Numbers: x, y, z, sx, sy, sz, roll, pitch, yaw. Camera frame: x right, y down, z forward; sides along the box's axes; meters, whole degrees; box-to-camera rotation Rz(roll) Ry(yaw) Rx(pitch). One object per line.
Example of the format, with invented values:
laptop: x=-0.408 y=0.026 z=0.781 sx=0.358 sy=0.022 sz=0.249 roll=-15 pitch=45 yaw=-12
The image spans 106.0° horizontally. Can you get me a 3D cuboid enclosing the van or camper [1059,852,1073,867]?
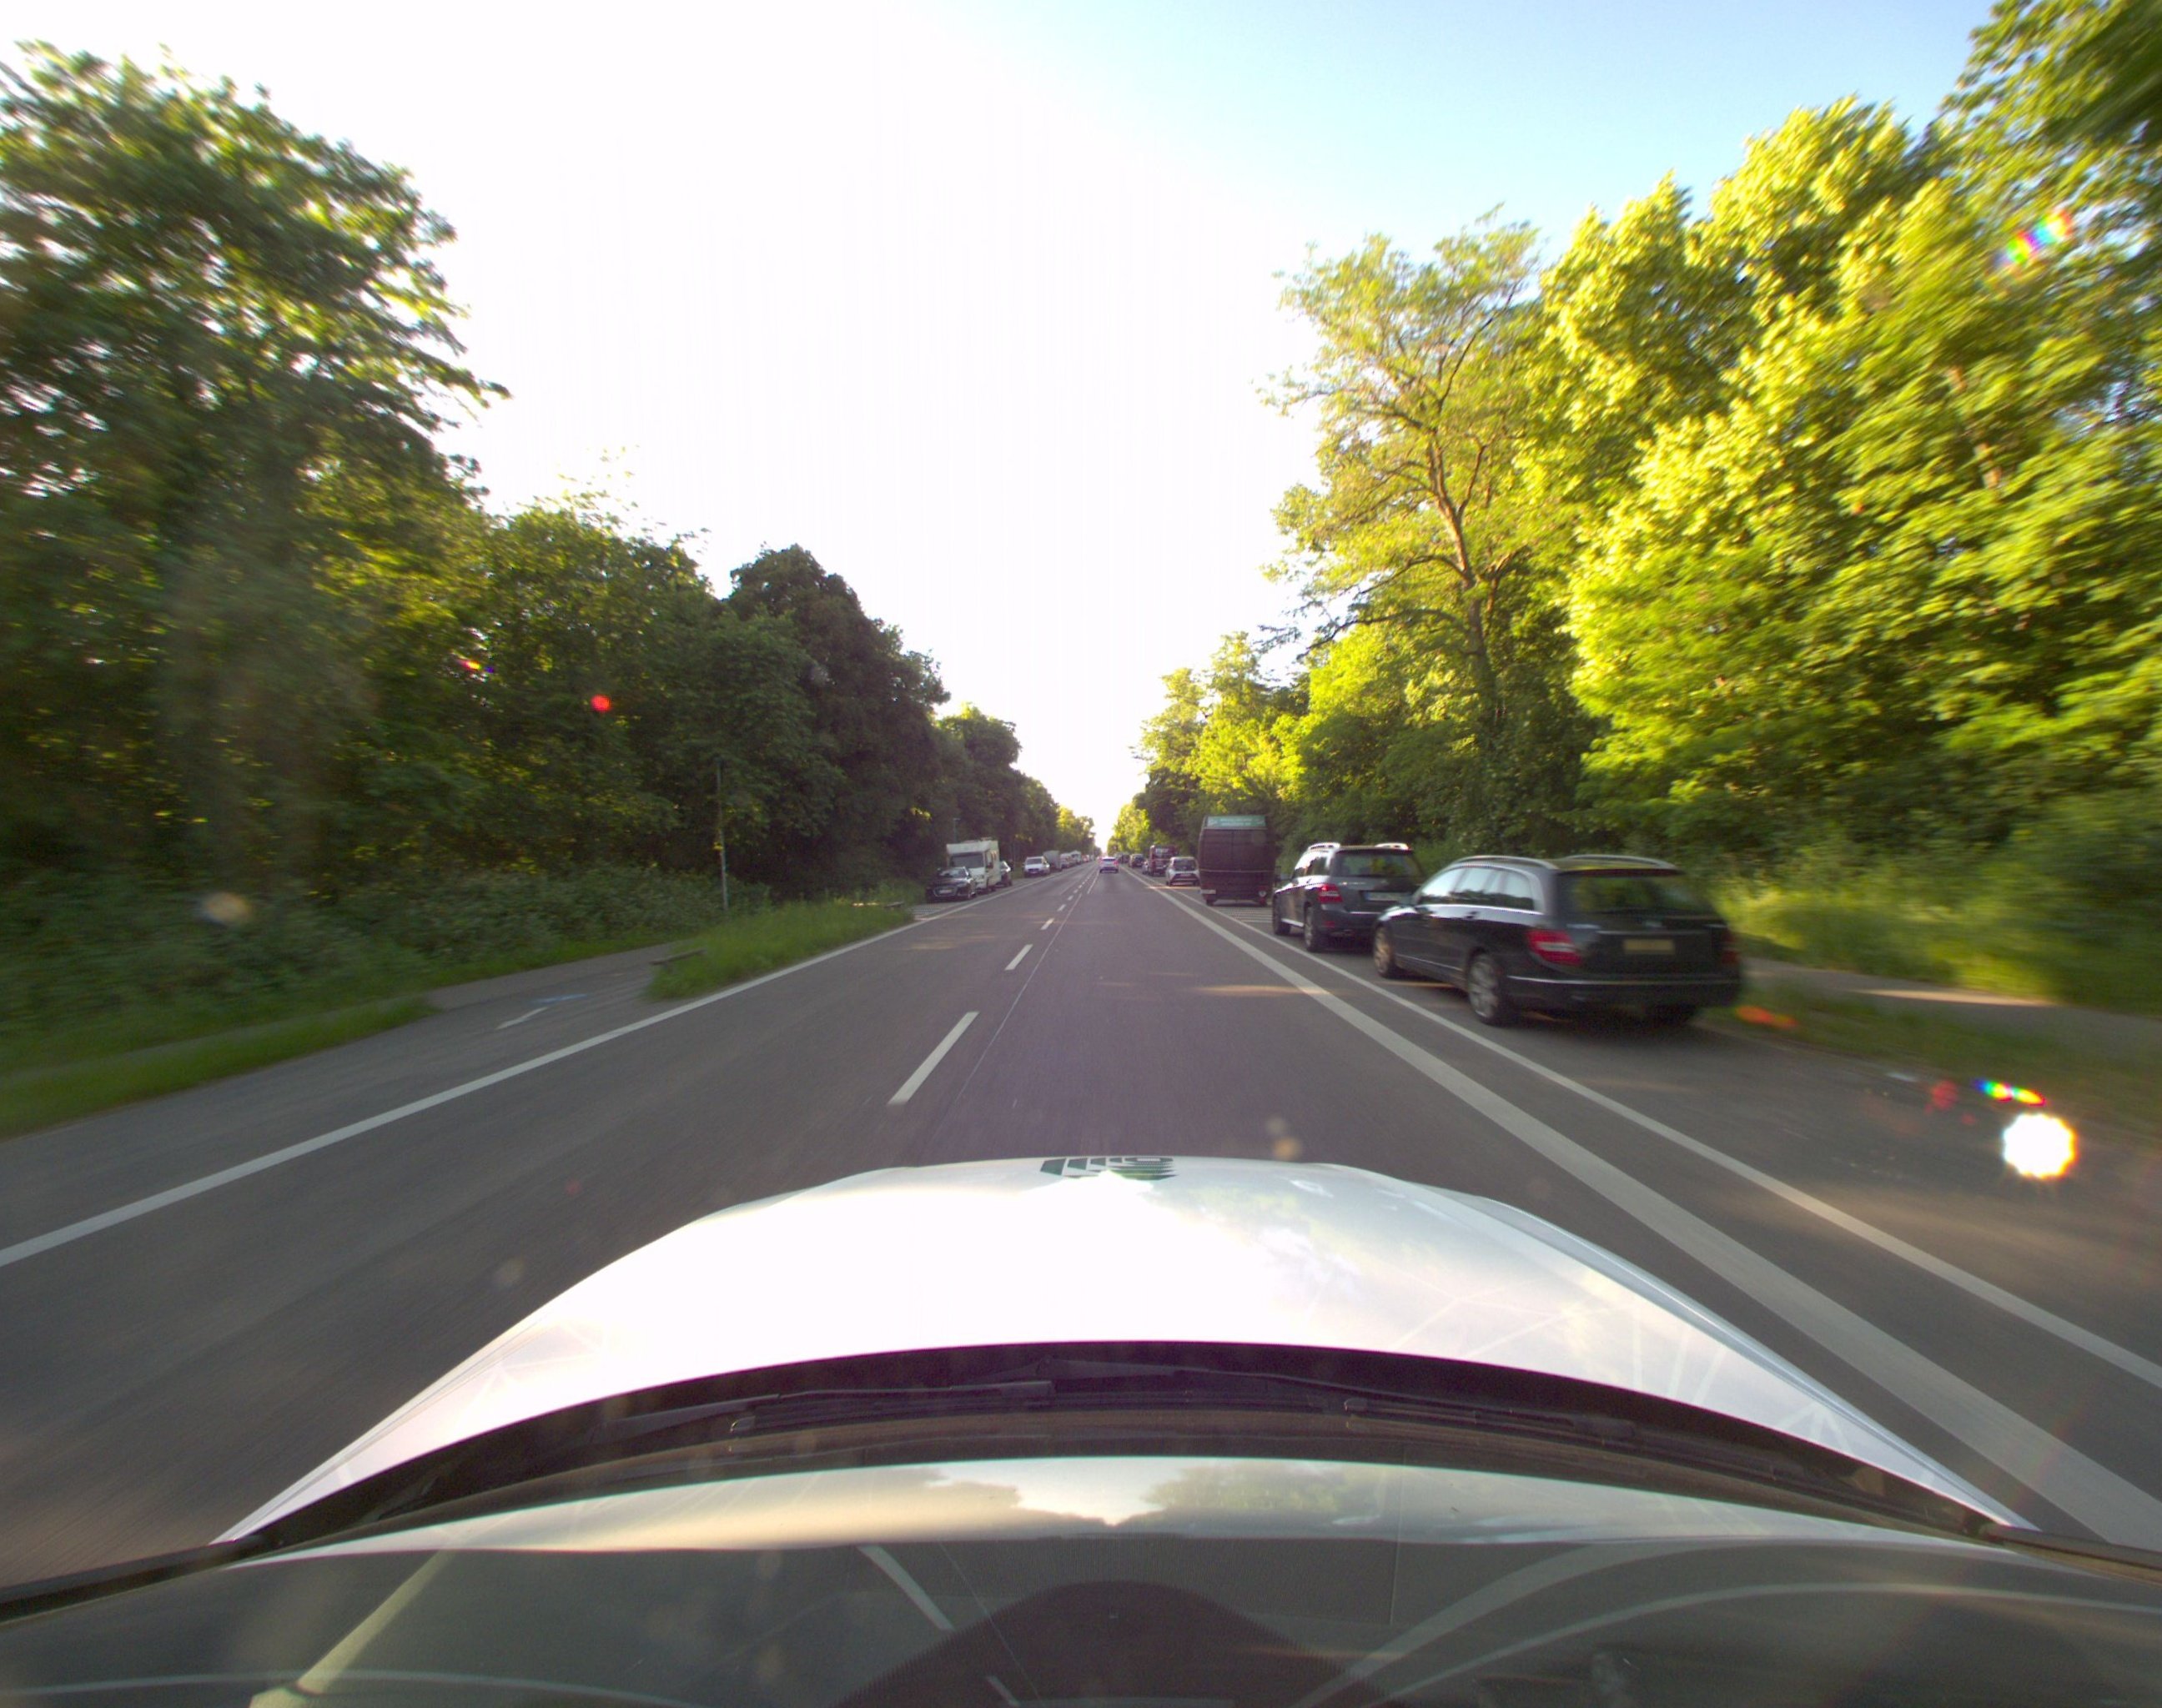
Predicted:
van or camper: x=-2.656 y=1.027 z=145.288 sx=2.113 sy=2.572 sz=6.545 roll=-3 pitch=0 yaw=2

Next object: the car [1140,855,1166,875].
car: x=6.115 y=0.940 z=69.712 sx=1.742 sy=1.515 sz=3.999 roll=-3 pitch=0 yaw=0

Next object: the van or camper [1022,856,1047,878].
van or camper: x=-4.315 y=1.193 z=76.567 sx=1.829 sy=1.911 sz=4.857 roll=-4 pitch=0 yaw=1

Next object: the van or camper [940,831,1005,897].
van or camper: x=-5.496 y=0.509 z=42.338 sx=2.308 sy=2.970 sz=7.108 roll=-4 pitch=0 yaw=-1

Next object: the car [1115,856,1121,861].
car: x=10.999 y=1.280 z=243.885 sx=1.650 sy=1.478 sz=3.755 roll=-2 pitch=0 yaw=2

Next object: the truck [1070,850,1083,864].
truck: x=-0.967 y=0.698 z=203.653 sx=2.697 sy=3.347 sz=10.928 roll=-2 pitch=0 yaw=2

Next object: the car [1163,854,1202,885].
car: x=5.175 y=0.759 z=41.817 sx=1.705 sy=1.545 sz=4.025 roll=0 pitch=0 yaw=3

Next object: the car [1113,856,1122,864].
car: x=8.345 y=1.409 z=185.960 sx=1.834 sy=1.662 sz=4.002 roll=-2 pitch=0 yaw=2

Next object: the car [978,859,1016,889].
car: x=-5.199 y=1.223 z=50.752 sx=1.640 sy=1.632 sz=4.275 roll=-4 pitch=0 yaw=2

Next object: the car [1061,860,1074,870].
car: x=-2.133 y=1.715 z=126.258 sx=1.725 sy=1.478 sz=4.326 roll=-4 pitch=0 yaw=2

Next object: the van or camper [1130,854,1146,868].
van or camper: x=7.684 y=0.891 z=109.686 sx=1.944 sy=1.815 sz=4.382 roll=-2 pitch=0 yaw=2

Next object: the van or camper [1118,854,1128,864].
van or camper: x=8.396 y=1.027 z=162.974 sx=1.986 sy=1.932 sz=5.201 roll=-1 pitch=0 yaw=2

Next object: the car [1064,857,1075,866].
car: x=-2.135 y=1.444 z=156.248 sx=1.774 sy=1.684 sz=4.380 roll=-2 pitch=0 yaw=2

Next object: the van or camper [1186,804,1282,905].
van or camper: x=5.160 y=-0.003 z=26.588 sx=2.423 sy=2.799 sz=6.583 roll=-3 pitch=0 yaw=15

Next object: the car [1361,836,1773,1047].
car: x=4.407 y=0.652 z=8.364 sx=1.705 sy=1.568 sz=4.554 roll=0 pitch=0 yaw=3

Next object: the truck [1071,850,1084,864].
truck: x=-0.783 y=0.726 z=192.148 sx=2.697 sy=3.093 sz=7.992 roll=-2 pitch=0 yaw=2

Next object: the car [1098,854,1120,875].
car: x=2.688 y=1.003 z=78.870 sx=2.021 sy=1.840 sz=4.031 roll=-2 pitch=0 yaw=2

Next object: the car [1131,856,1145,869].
car: x=7.178 y=1.045 z=103.047 sx=1.684 sy=1.524 sz=4.151 roll=-1 pitch=0 yaw=2

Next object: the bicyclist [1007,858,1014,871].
bicyclist: x=-7.112 y=1.060 z=82.069 sx=0.602 sy=1.374 sz=0.799 roll=-2 pitch=-1 yaw=2

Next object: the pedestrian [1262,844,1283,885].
pedestrian: x=9.239 y=0.510 z=39.384 sx=0.765 sy=1.918 sz=0.920 roll=-2 pitch=0 yaw=2

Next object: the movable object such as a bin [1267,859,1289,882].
movable object such as a bin: x=9.241 y=0.766 z=38.179 sx=0.786 sy=1.047 sz=0.987 roll=-2 pitch=0 yaw=2

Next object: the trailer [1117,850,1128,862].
trailer: x=10.578 y=0.518 z=207.938 sx=2.747 sy=2.870 sz=6.591 roll=-2 pitch=0 yaw=2

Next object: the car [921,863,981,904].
car: x=-5.518 y=1.209 z=35.109 sx=1.822 sy=1.476 sz=4.678 roll=-4 pitch=0 yaw=-1

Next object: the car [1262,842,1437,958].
car: x=4.359 y=0.658 z=13.963 sx=1.705 sy=1.665 sz=4.554 roll=0 pitch=0 yaw=3

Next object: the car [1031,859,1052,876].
car: x=-3.993 y=1.393 z=83.267 sx=1.768 sy=1.540 sz=4.525 roll=-4 pitch=0 yaw=1

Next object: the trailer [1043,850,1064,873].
trailer: x=-3.316 y=0.871 z=99.356 sx=1.986 sy=2.597 sz=4.417 roll=-4 pitch=0 yaw=2

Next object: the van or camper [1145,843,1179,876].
van or camper: x=6.215 y=0.433 z=62.965 sx=2.028 sy=2.312 sz=6.041 roll=-3 pitch=0 yaw=1

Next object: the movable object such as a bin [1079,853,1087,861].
movable object such as a bin: x=0.506 y=0.888 z=251.483 sx=2.313 sy=2.501 sz=4.001 roll=-2 pitch=0 yaw=2

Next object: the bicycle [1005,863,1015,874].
bicycle: x=-7.125 y=1.456 z=81.898 sx=0.649 sy=1.008 sz=2.397 roll=-2 pitch=0 yaw=2
